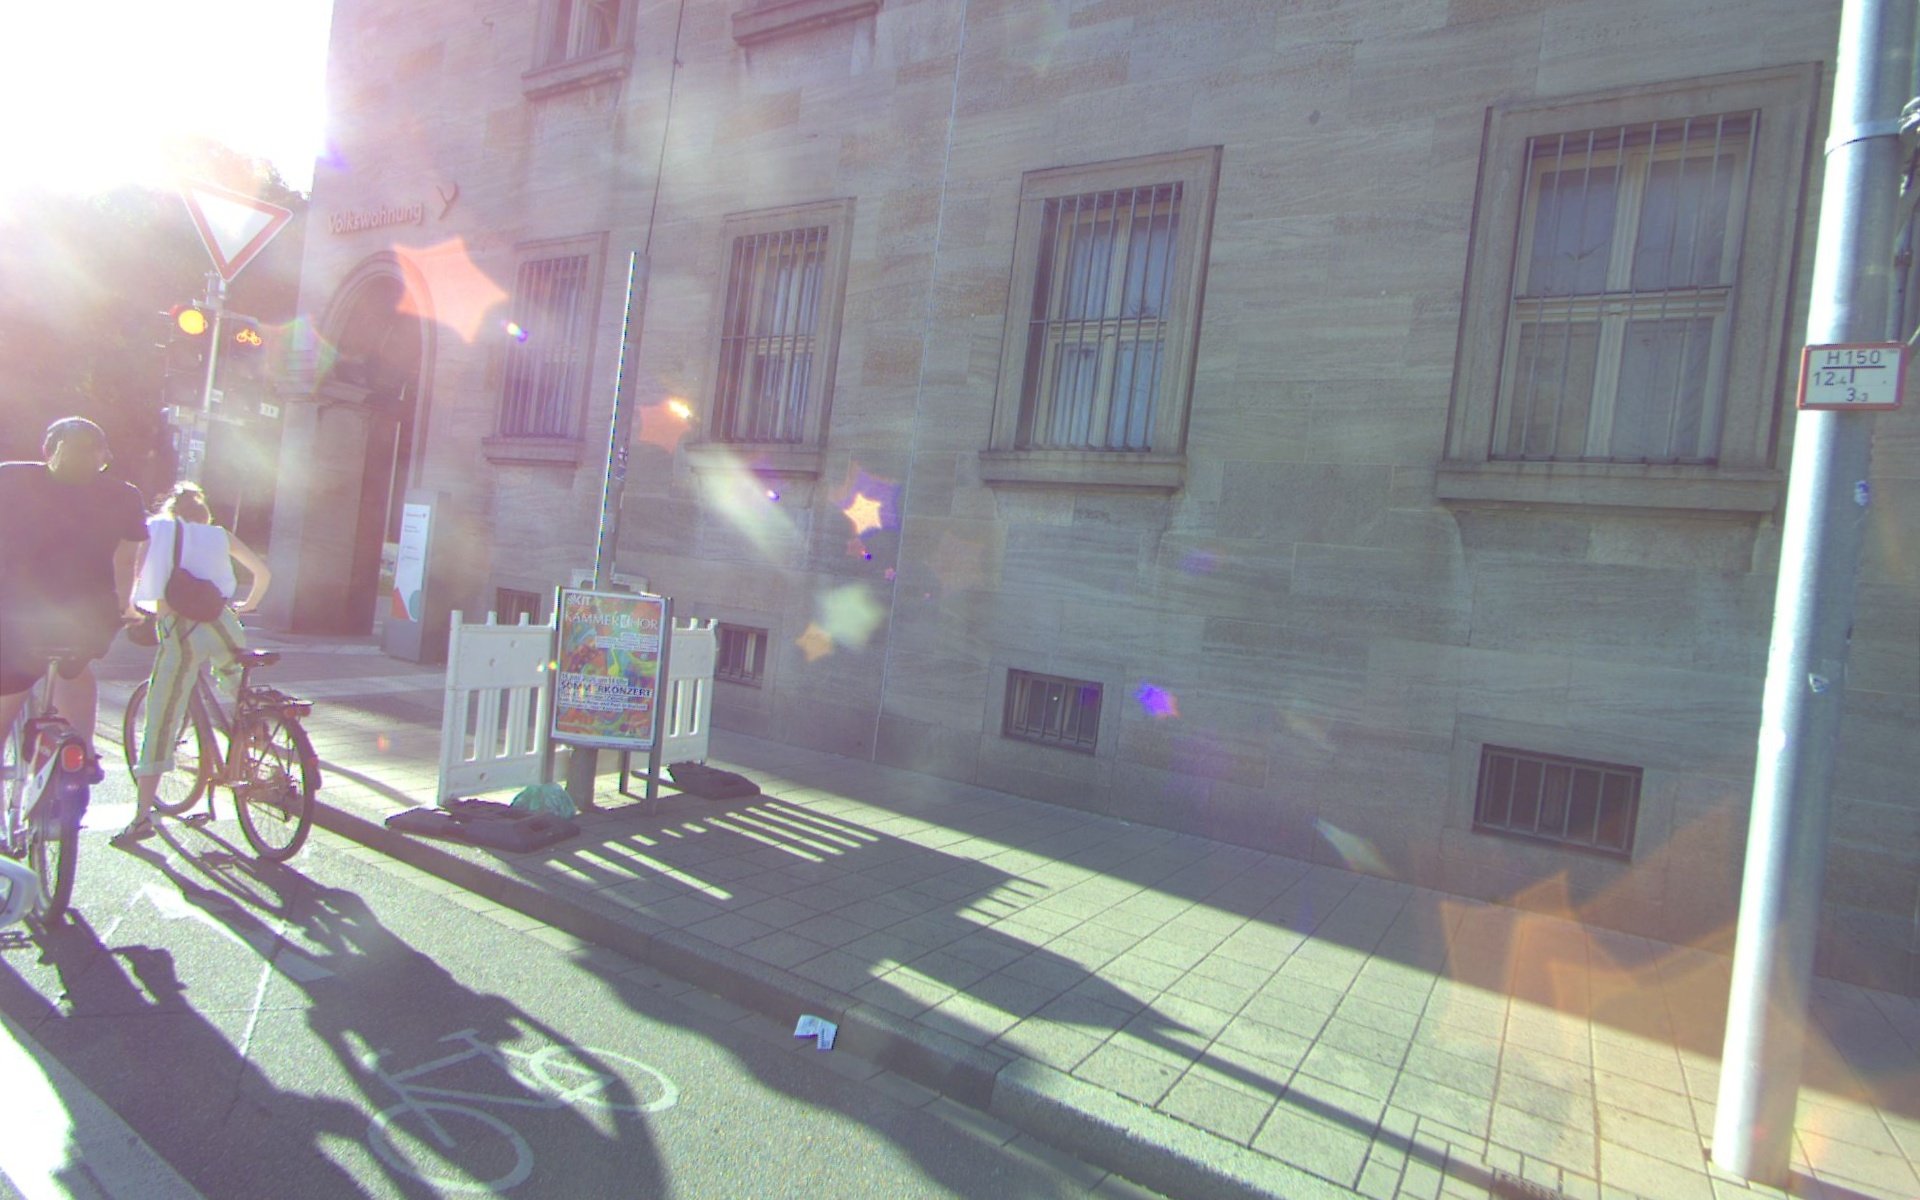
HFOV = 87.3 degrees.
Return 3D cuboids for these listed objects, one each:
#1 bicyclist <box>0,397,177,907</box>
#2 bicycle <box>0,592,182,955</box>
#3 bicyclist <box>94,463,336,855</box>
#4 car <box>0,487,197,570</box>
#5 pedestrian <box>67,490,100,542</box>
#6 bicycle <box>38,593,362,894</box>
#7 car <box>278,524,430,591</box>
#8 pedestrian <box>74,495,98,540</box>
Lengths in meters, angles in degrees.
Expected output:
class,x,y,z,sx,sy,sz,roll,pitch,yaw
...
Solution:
class,x,y,z,sx,sy,sz,roll,pitch,yaw
bicyclist,-3.565,0.191,3.860,0.541,1.820,0.559,7,-1,33
bicycle,-3.754,0.572,3.930,1.700,1.090,0.516,7,-1,34
bicyclist,-3.551,0.263,4.810,0.629,1.711,0.558,7,-1,30
car,-23.390,-1.898,27.200,1.622,1.630,3.999,7,-1,31
pedestrian,-30.732,-2.937,35.263,0.506,1.683,0.583,8,0,34
bicycle,-3.698,0.619,4.848,1.721,1.090,0.535,7,-1,31
car,-19.815,-1.357,33.025,1.622,1.630,3.854,7,-1,31
pedestrian,-31.030,-2.933,35.717,0.430,1.522,0.440,7,1,33
